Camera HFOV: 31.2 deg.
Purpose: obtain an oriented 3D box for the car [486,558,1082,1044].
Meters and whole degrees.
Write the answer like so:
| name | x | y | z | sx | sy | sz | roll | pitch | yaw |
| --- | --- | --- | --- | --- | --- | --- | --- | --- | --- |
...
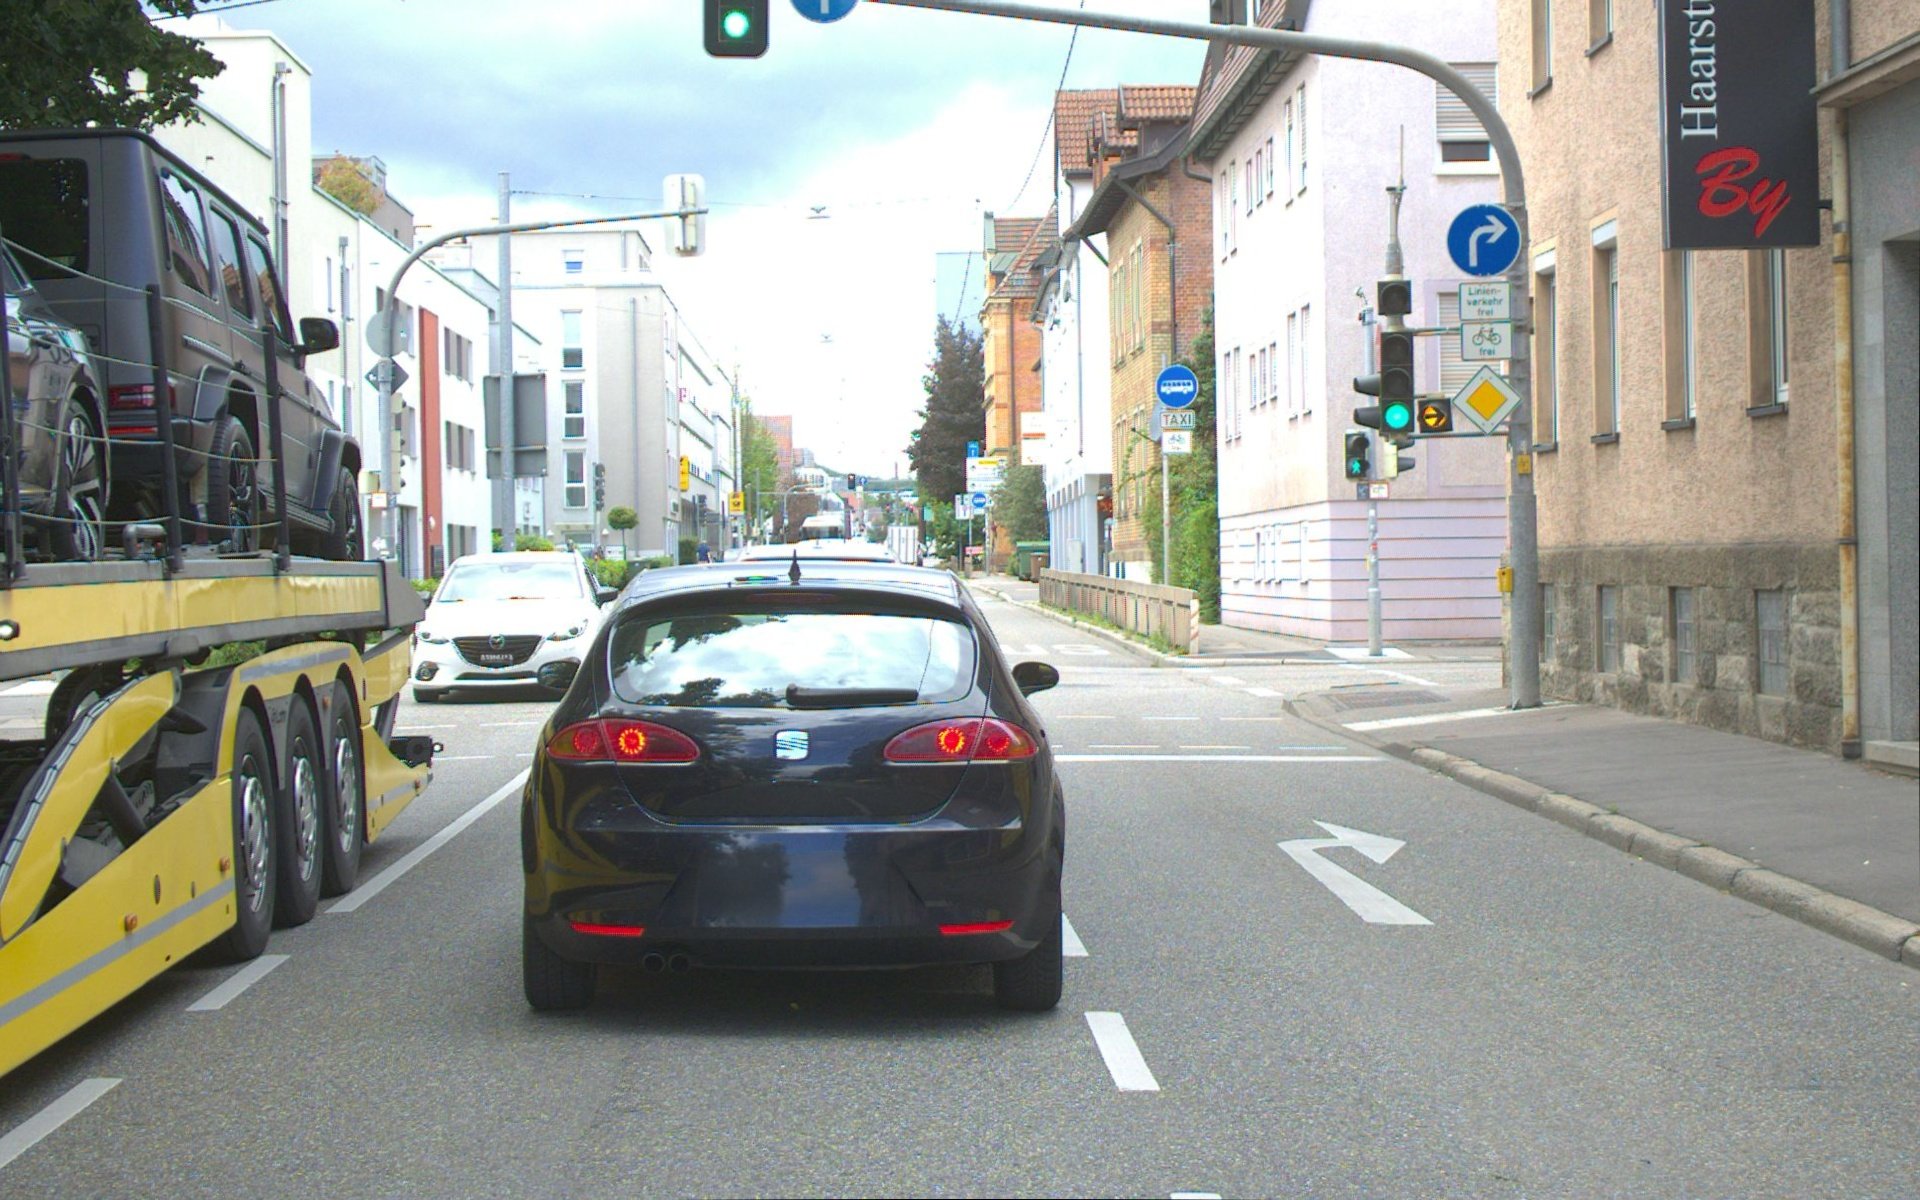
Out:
| name | x | y | z | sx | sy | sz | roll | pitch | yaw |
| --- | --- | --- | --- | --- | --- | --- | --- | --- | --- |
| car | -0.577 | 0.582 | 12.213 | 1.759 | 1.437 | 4.000 | 0 | 0 | -2 |

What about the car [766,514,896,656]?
| name | x | y | z | sx | sy | sz | roll | pitch | yaw |
| --- | --- | --- | --- | --- | --- | --- | --- | --- | --- |
| car | -1.600 | -0.192 | 42.772 | 1.531 | 1.687 | 3.693 | 0 | 0 | -2 |

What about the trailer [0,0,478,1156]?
| name | x | y | z | sx | sy | sz | roll | pitch | yaw |
| --- | --- | --- | --- | --- | --- | --- | --- | --- | --- |
| trailer | -3.878 | -0.549 | 11.467 | 2.858 | 3.795 | 14.392 | 0 | 0 | -1 |

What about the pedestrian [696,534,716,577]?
| name | x | y | z | sx | sy | sz | roll | pitch | yaw |
| --- | --- | --- | --- | --- | --- | --- | --- | --- | --- |
| pedestrian | -10.113 | -1.763 | 136.840 | 0.730 | 1.723 | 0.859 | 0 | 0 | -2 |

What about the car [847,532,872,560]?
| name | x | y | z | sx | sy | sz | roll | pitch | yaw |
| --- | --- | --- | --- | --- | --- | --- | --- | --- | --- |
| car | -6.300 | -3.389 | 214.823 | 1.531 | 1.687 | 3.693 | -1 | 1 | -2 |

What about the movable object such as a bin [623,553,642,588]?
| name | x | y | z | sx | sy | sz | roll | pitch | yaw |
| --- | --- | --- | --- | --- | --- | --- | --- | --- | --- |
| movable object such as a bin | -10.345 | -0.930 | 108.494 | 0.549 | 1.075 | 0.612 | 0 | 0 | -1 |

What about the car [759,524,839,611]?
| name | x | y | z | sx | sy | sz | roll | pitch | yaw |
| --- | --- | --- | --- | --- | --- | --- | --- | --- | --- |
| car | -3.196 | -0.650 | 68.540 | 1.531 | 1.687 | 3.693 | 0 | 0 | -2 |

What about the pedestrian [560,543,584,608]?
| name | x | y | z | sx | sy | sz | roll | pitch | yaw |
| --- | --- | --- | --- | --- | --- | --- | --- | --- | --- |
| pedestrian | -9.214 | -0.588 | 81.649 | 0.526 | 1.542 | 0.541 | 0 | 0 | -2 |

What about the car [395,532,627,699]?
| name | x | y | z | sx | sy | sz | roll | pitch | yaw |
| --- | --- | --- | --- | --- | --- | --- | --- | --- | --- |
| car | -4.433 | 0.128 | 34.497 | 1.767 | 1.465 | 4.227 | -4 | 1 | -1 |

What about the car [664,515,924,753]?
| name | x | y | z | sx | sy | sz | roll | pitch | yaw |
| --- | --- | --- | --- | --- | --- | --- | --- | --- | --- |
| car | -1.249 | 0.224 | 26.512 | 1.842 | 1.687 | 4.000 | 0 | 0 | -2 |

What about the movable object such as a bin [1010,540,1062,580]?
| name | x | y | z | sx | sy | sz | roll | pitch | yaw |
| --- | --- | --- | --- | --- | --- | --- | --- | --- | --- |
| movable object such as a bin | 2.789 | -1.453 | 126.094 | 1.818 | 1.432 | 1.993 | 0 | 0 | -1 |
